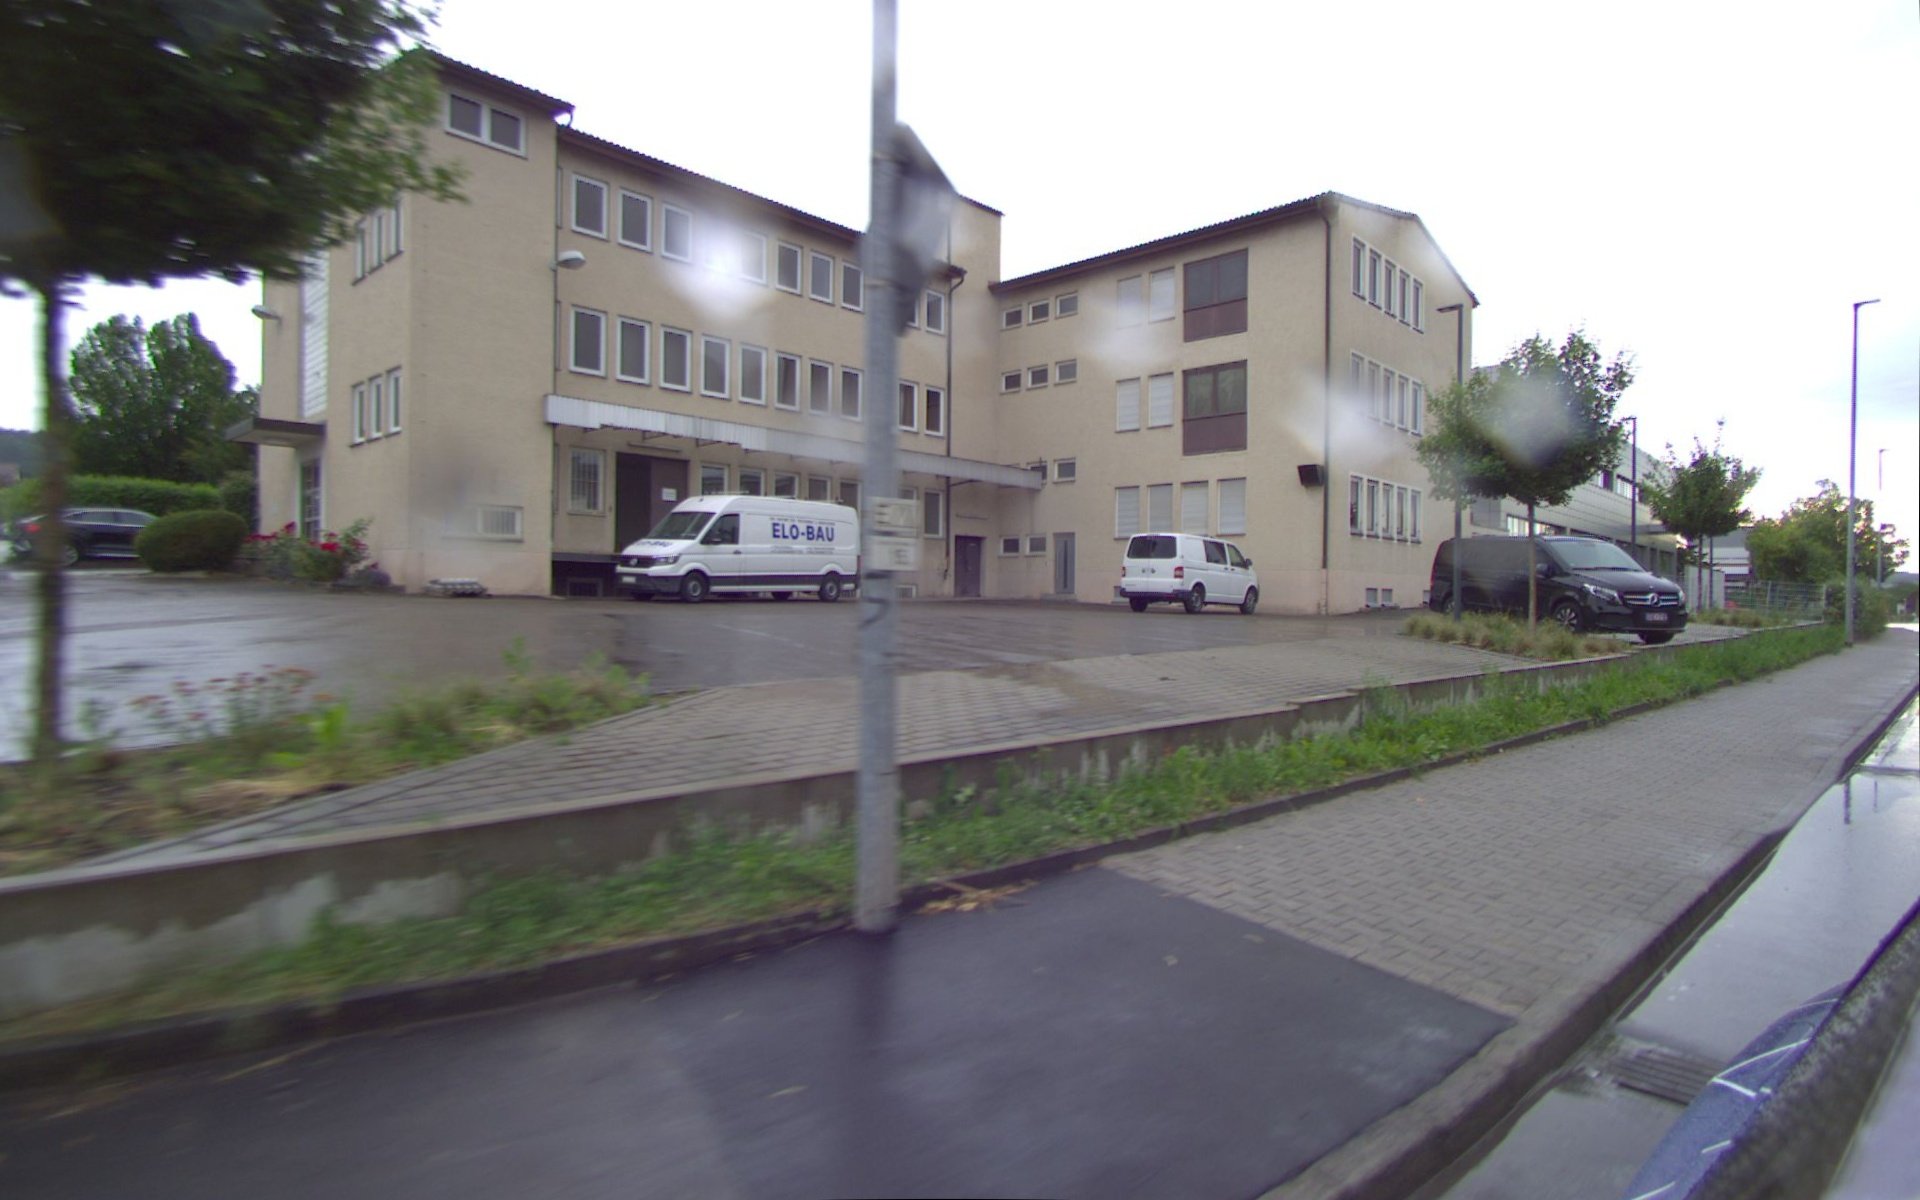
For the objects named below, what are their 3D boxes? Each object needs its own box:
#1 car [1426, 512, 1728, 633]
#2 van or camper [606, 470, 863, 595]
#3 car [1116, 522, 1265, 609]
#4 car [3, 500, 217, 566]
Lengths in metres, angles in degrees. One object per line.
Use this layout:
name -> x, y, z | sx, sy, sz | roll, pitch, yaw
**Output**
car -> 11.240, -0.570, 19.039 | 2.012, 1.942, 5.126 | 0, 3, -8
van or camper -> -5.208, -1.433, 24.603 | 1.987, 2.569, 6.520 | 0, -1, 35
car -> 6.110, -0.834, 26.442 | 1.793, 2.039, 4.530 | 2, 0, 42
car -> -22.147, -1.682, 26.533 | 4.158, 1.398, 1.700 | 1, -1, -41
